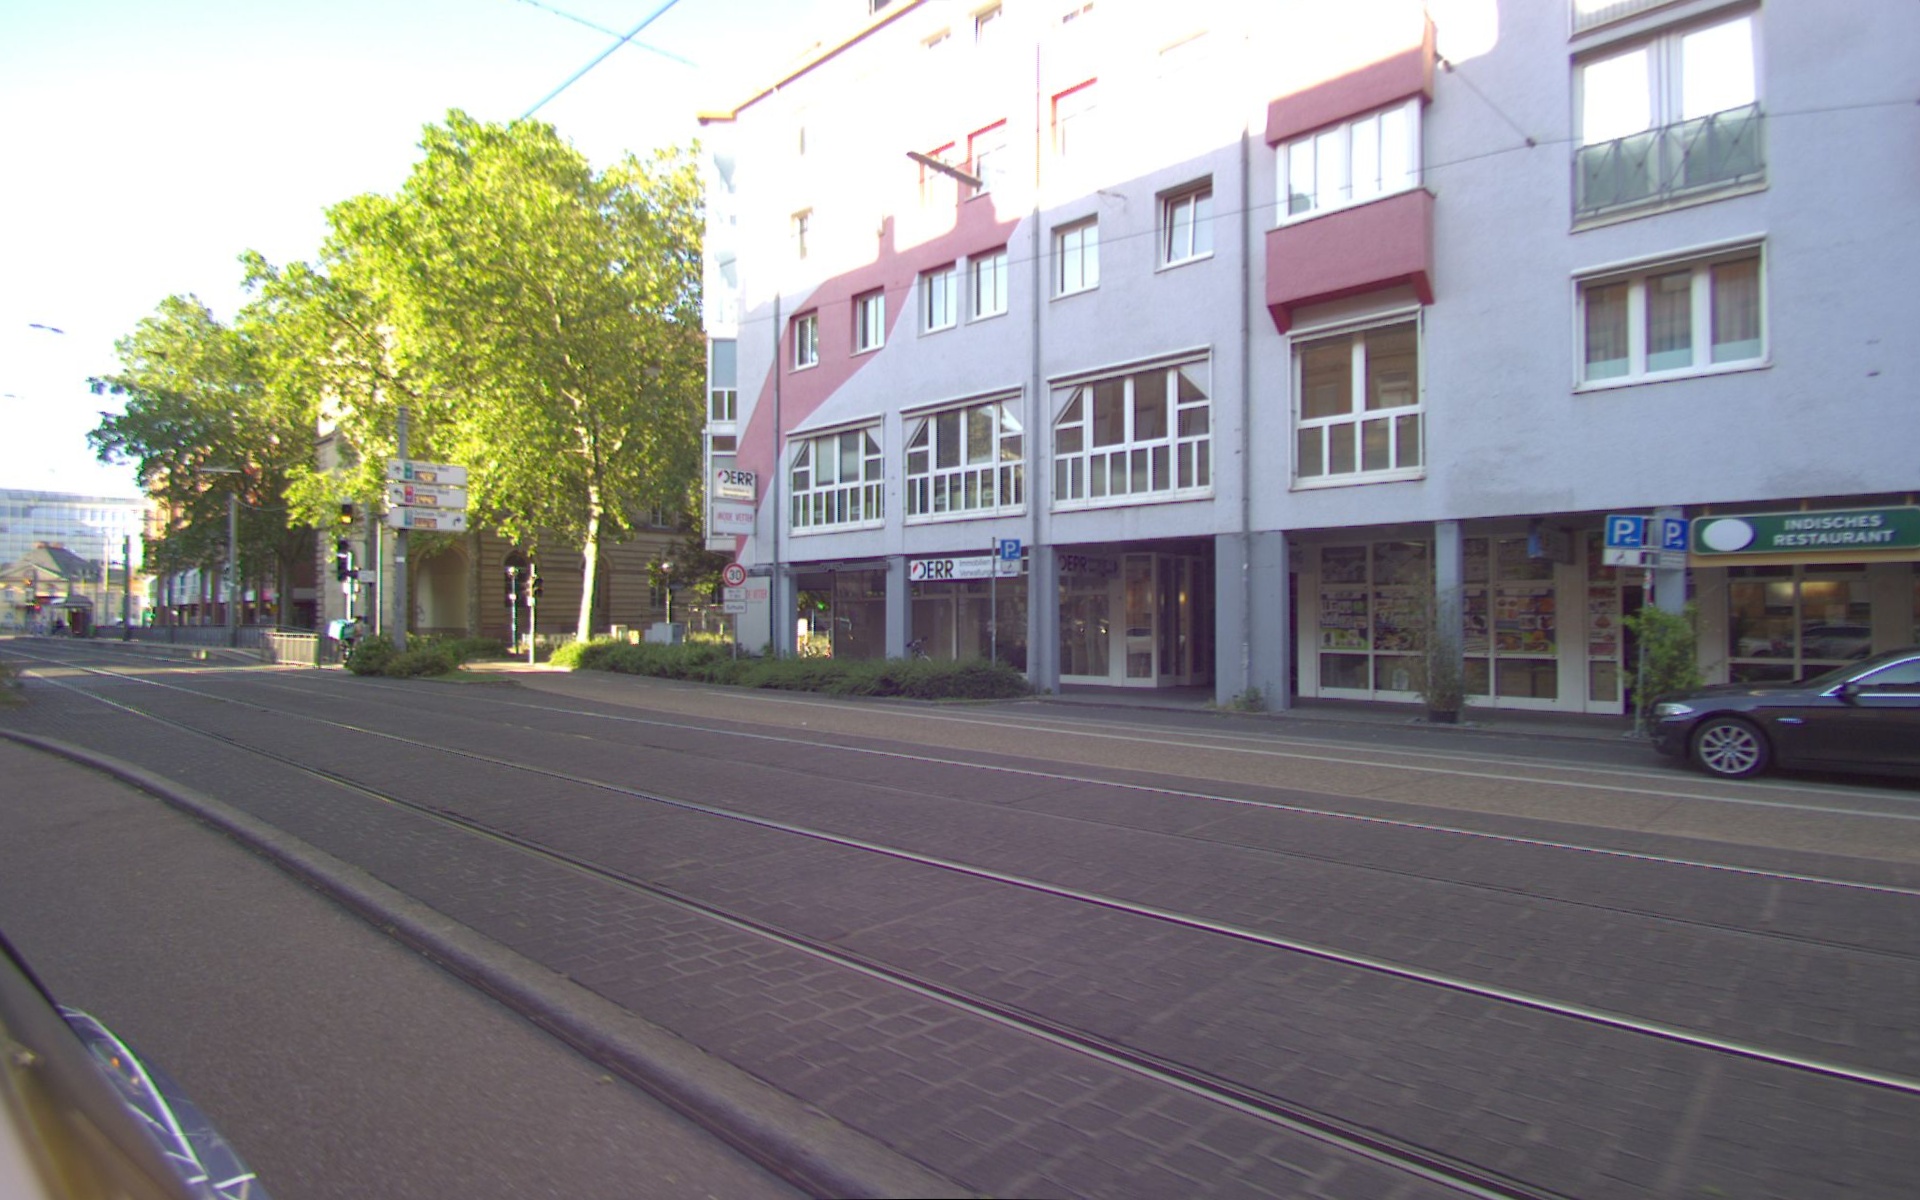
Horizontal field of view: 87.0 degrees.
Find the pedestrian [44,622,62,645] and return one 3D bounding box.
[{"bbox_3d":[-66.862,2.494,74.595,0.967,1.674,0.901,-1,-2,42],"label":"pedestrian"}]

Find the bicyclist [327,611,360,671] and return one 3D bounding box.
[{"bbox_3d":[-18.120,1.204,29.757,0.526,1.725,0.746,0,-2,-3],"label":"bicyclist"}]

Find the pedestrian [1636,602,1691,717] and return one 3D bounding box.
[{"bbox_3d":[10.906,0.906,15.691,0.615,1.725,0.736,-2,-2,39],"label":"pedestrian"}]

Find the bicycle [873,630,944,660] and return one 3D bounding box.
[{"bbox_3d":[-1.224,1.049,23.779,1.807,0.663,0.451,-1,1,38],"label":"bicycle"}]

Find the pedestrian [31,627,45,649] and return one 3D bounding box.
[{"bbox_3d":[-78.431,3.222,86.070,0.848,1.780,0.812,-2,1,-42],"label":"pedestrian"}]

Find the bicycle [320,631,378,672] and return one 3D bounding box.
[{"bbox_3d":[-18.124,1.503,30.059,0.576,1.086,1.900,-2,1,-1],"label":"bicycle"}]

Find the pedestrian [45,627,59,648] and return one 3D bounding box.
[{"bbox_3d":[-78.371,3.203,87.339,0.847,1.780,0.813,-2,1,-39],"label":"pedestrian"}]

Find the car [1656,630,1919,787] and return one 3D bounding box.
[{"bbox_3d":[10.019,1.061,10.266,4.704,1.450,1.850,-1,-1,40],"label":"car"}]
